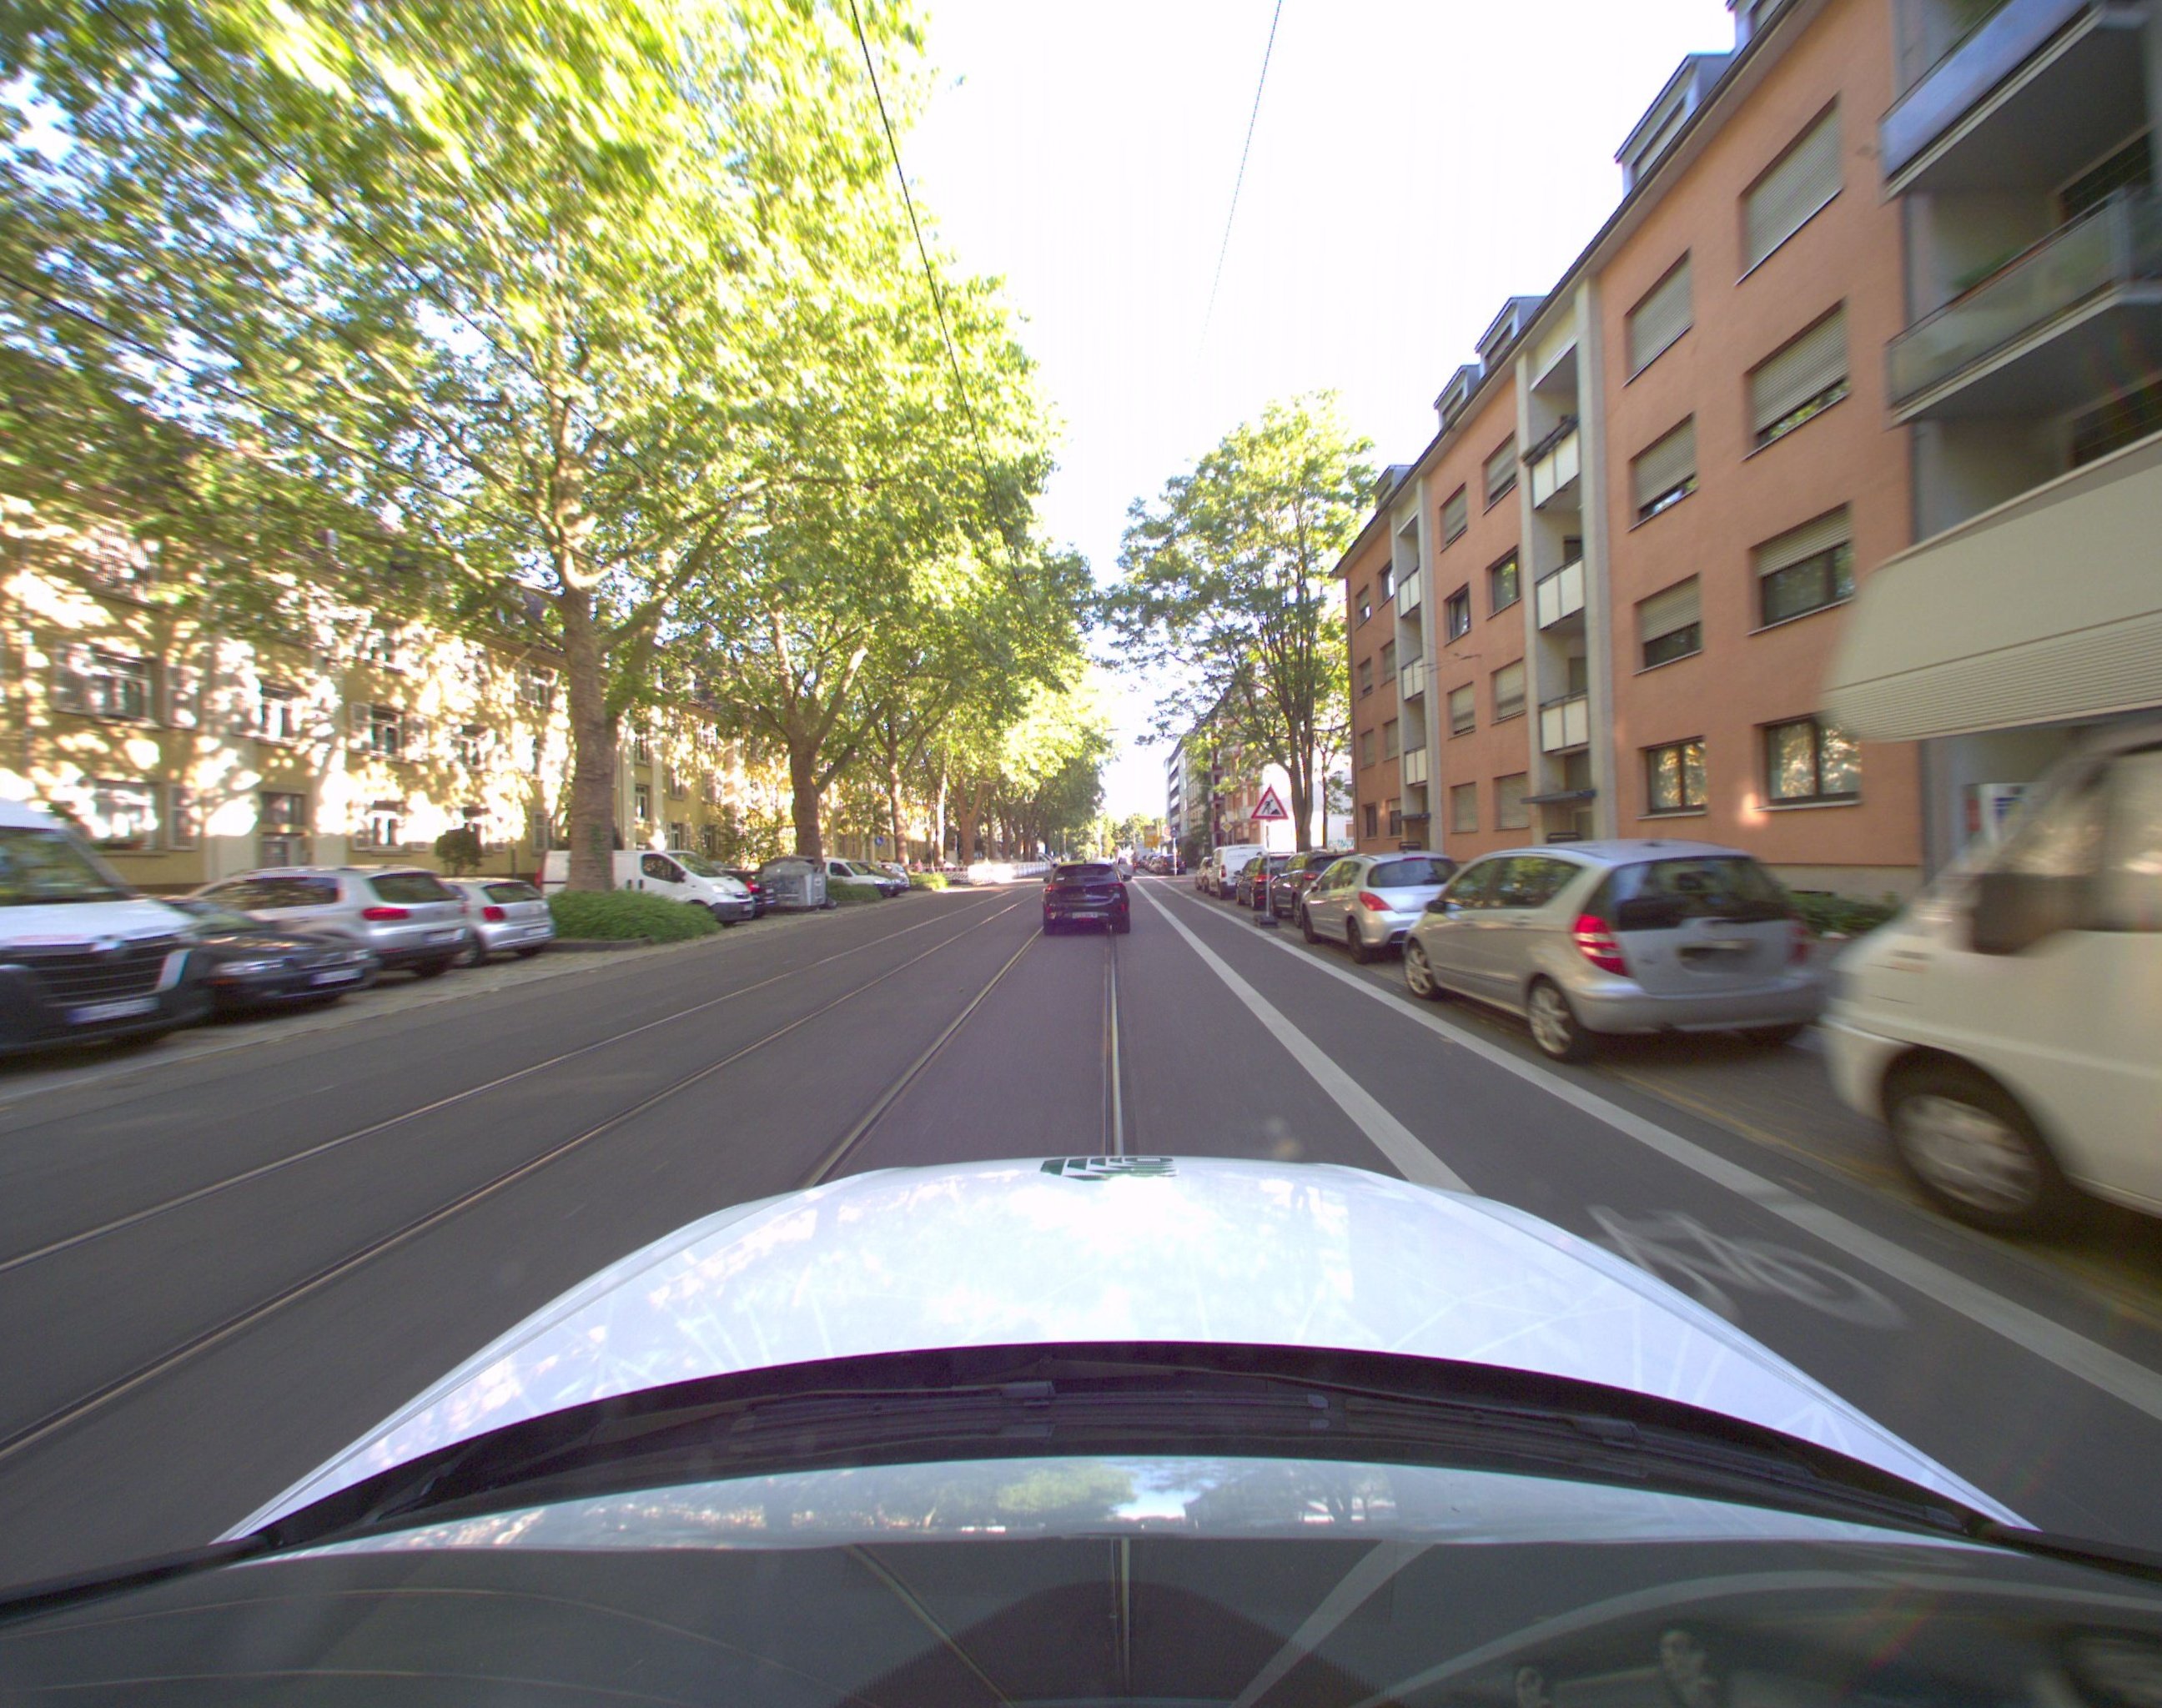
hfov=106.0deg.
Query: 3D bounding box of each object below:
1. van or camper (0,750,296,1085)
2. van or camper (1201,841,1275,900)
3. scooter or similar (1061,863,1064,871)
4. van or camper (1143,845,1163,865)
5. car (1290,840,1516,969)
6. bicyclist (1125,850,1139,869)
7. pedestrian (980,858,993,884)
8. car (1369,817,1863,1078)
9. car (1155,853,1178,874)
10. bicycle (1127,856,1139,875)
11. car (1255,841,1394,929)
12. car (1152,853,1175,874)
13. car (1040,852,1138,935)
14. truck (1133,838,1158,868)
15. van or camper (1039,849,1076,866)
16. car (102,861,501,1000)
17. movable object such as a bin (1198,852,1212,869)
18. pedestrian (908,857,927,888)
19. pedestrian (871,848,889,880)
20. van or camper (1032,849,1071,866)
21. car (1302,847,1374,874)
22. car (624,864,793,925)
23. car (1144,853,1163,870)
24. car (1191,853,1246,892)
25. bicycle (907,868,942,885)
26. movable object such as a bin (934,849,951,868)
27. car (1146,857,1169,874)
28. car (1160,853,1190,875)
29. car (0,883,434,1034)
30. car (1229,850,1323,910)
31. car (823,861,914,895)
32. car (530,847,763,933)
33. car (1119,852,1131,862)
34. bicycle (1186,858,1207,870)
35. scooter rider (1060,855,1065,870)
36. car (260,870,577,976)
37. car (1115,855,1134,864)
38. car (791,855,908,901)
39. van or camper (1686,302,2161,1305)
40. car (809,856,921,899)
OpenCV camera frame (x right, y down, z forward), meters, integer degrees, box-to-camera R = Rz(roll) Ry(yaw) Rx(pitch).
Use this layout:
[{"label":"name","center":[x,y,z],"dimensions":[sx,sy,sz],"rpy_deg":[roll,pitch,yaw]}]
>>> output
[{"label":"van or camper","center":[-10.766,0.526,7.167],"dimensions":[5.368,2.516,2.446],"rpy_deg":[-1,0,2]},{"label":"van or camper","center":[5.413,0.535,28.668],"dimensions":[1.748,1.864,4.832],"rpy_deg":[-2,0,2]},{"label":"scooter or similar","center":[-2.526,1.751,111.990],"dimensions":[0.406,1.083,1.339],"rpy_deg":[-1,-1,3]},{"label":"van or camper","center":[7.272,0.143,82.537],"dimensions":[1.662,1.883,4.213],"rpy_deg":[-3,0,2]},{"label":"car","center":[4.617,0.641,12.449],"dimensions":[1.781,1.522,4.324],"rpy_deg":[-4,0,2]},{"label":"bicyclist","center":[4.387,0.471,70.150],"dimensions":[1.085,1.647,1.401],"rpy_deg":[-1,0,2]},{"label":"pedestrian","center":[-6.139,1.083,53.194],"dimensions":[0.714,1.669,0.779],"rpy_deg":[-1,-1,2]},{"label":"car","center":[4.305,0.623,7.551],"dimensions":[1.786,1.628,4.278],"rpy_deg":[-4,0,2]},{"label":"car","center":[6.515,0.727,62.405],"dimensions":[1.520,1.590,3.754],"rpy_deg":[-1,-1,2]},{"label":"bicycle","center":[4.494,0.957,70.175],"dimensions":[0.912,1.561,3.407],"rpy_deg":[-1,0,3]},{"label":"car","center":[5.147,0.600,17.818],"dimensions":[1.761,1.572,4.338],"rpy_deg":[-4,0,2]},{"label":"car","center":[6.785,0.787,67.115],"dimensions":[1.585,1.526,3.837],"rpy_deg":[-4,-1,2]},{"label":"car","center":[0.202,0.722,16.924],"dimensions":[1.775,1.496,4.001],"rpy_deg":[-1,0,2]},{"label":"truck","center":[7.863,-0.065,99.980],"dimensions":[2.528,3.338,7.199],"rpy_deg":[-4,-1,2]},{"label":"van or camper","center":[-3.760,0.604,130.590],"dimensions":[5.701,2.644,2.270],"rpy_deg":[-1,-1,2]},{"label":"car","center":[-10.810,1.005,11.516],"dimensions":[3.832,1.663,1.863],"rpy_deg":[-2,0,2]},{"label":"movable object such as a bin","center":[10.043,0.516,65.952],"dimensions":[0.920,1.327,1.682],"rpy_deg":[-1,-1,2]},{"label":"pedestrian","center":[-9.163,1.020,45.641],"dimensions":[0.819,1.745,0.797],"rpy_deg":[-1,-1,2]},{"label":"pedestrian","center":[-11.216,0.559,45.453],"dimensions":[0.819,1.745,0.797],"rpy_deg":[-1,-1,2]},{"label":"van or camper","center":[-4.406,0.512,121.194],"dimensions":[5.475,2.379,2.273],"rpy_deg":[-1,-1,5]},{"label":"car","center":[15.701,0.364,49.834],"dimensions":[3.900,1.482,1.562],"rpy_deg":[-2,2,0]},{"label":"car","center":[-10.427,1.104,22.979],"dimensions":[3.832,1.498,1.863],"rpy_deg":[-2,0,2]},{"label":"car","center":[6.911,0.707,77.857],"dimensions":[1.653,1.580,3.591],"rpy_deg":[-3,0,2]},{"label":"car","center":[5.659,0.713,33.899],"dimensions":[1.699,1.473,4.002],"rpy_deg":[-2,0,2]},{"label":"bicycle","center":[-9.456,1.354,49.204],"dimensions":[1.964,0.963,0.726],"rpy_deg":[-2,0,2]},{"label":"movable object such as a bin","center":[-13.881,0.474,81.584],"dimensions":[1.328,1.869,2.008],"rpy_deg":[-1,-1,2]},{"label":"car","center":[6.809,0.982,72.818],"dimensions":[1.653,1.399,4.741],"rpy_deg":[-4,0,2]},{"label":"car","center":[6.720,0.693,58.503],"dimensions":[1.727,1.462,3.917],"rpy_deg":[-4,0,2]},{"label":"car","center":[-10.230,1.136,9.311],"dimensions":[4.248,1.399,1.754],"rpy_deg":[-2,0,2]},{"label":"car","center":[5.361,0.655,22.896],"dimensions":[1.699,1.473,4.170],"rpy_deg":[-2,0,2]},{"label":"car","center":[-10.316,1.151,39.707],"dimensions":[3.832,1.498,1.863],"rpy_deg":[-2,0,2]},{"label":"car","center":[-10.612,0.843,20.158],"dimensions":[4.644,1.945,1.961],"rpy_deg":[-1,0,-2]},{"label":"car","center":[7.861,0.523,146.246],"dimensions":[1.986,1.695,4.741],"rpy_deg":[-4,0,2]},{"label":"bicycle","center":[10.819,0.915,76.410],"dimensions":[1.884,1.029,0.477],"rpy_deg":[-4,-1,7]},{"label":"scooter rider","center":[-2.492,1.175,111.972],"dimensions":[0.647,1.957,0.624],"rpy_deg":[-1,-1,2]},{"label":"car","center":[-11.119,1.119,13.877],"dimensions":[3.832,1.498,1.863],"rpy_deg":[-2,0,2]},{"label":"car","center":[9.623,1.185,178.678],"dimensions":[1.930,1.695,4.277],"rpy_deg":[-3,0,-33]},{"label":"car","center":[-9.392,0.955,33.245],"dimensions":[4.181,1.757,1.741],"rpy_deg":[-1,0,3]},{"label":"van or camper","center":[4.515,-0.191,1.215],"dimensions":[2.454,3.064,6.268],"rpy_deg":[-4,0,1]},{"label":"car","center":[-9.367,1.002,35.497],"dimensions":[4.210,1.688,1.938],"rpy_deg":[-2,0,8]}]
